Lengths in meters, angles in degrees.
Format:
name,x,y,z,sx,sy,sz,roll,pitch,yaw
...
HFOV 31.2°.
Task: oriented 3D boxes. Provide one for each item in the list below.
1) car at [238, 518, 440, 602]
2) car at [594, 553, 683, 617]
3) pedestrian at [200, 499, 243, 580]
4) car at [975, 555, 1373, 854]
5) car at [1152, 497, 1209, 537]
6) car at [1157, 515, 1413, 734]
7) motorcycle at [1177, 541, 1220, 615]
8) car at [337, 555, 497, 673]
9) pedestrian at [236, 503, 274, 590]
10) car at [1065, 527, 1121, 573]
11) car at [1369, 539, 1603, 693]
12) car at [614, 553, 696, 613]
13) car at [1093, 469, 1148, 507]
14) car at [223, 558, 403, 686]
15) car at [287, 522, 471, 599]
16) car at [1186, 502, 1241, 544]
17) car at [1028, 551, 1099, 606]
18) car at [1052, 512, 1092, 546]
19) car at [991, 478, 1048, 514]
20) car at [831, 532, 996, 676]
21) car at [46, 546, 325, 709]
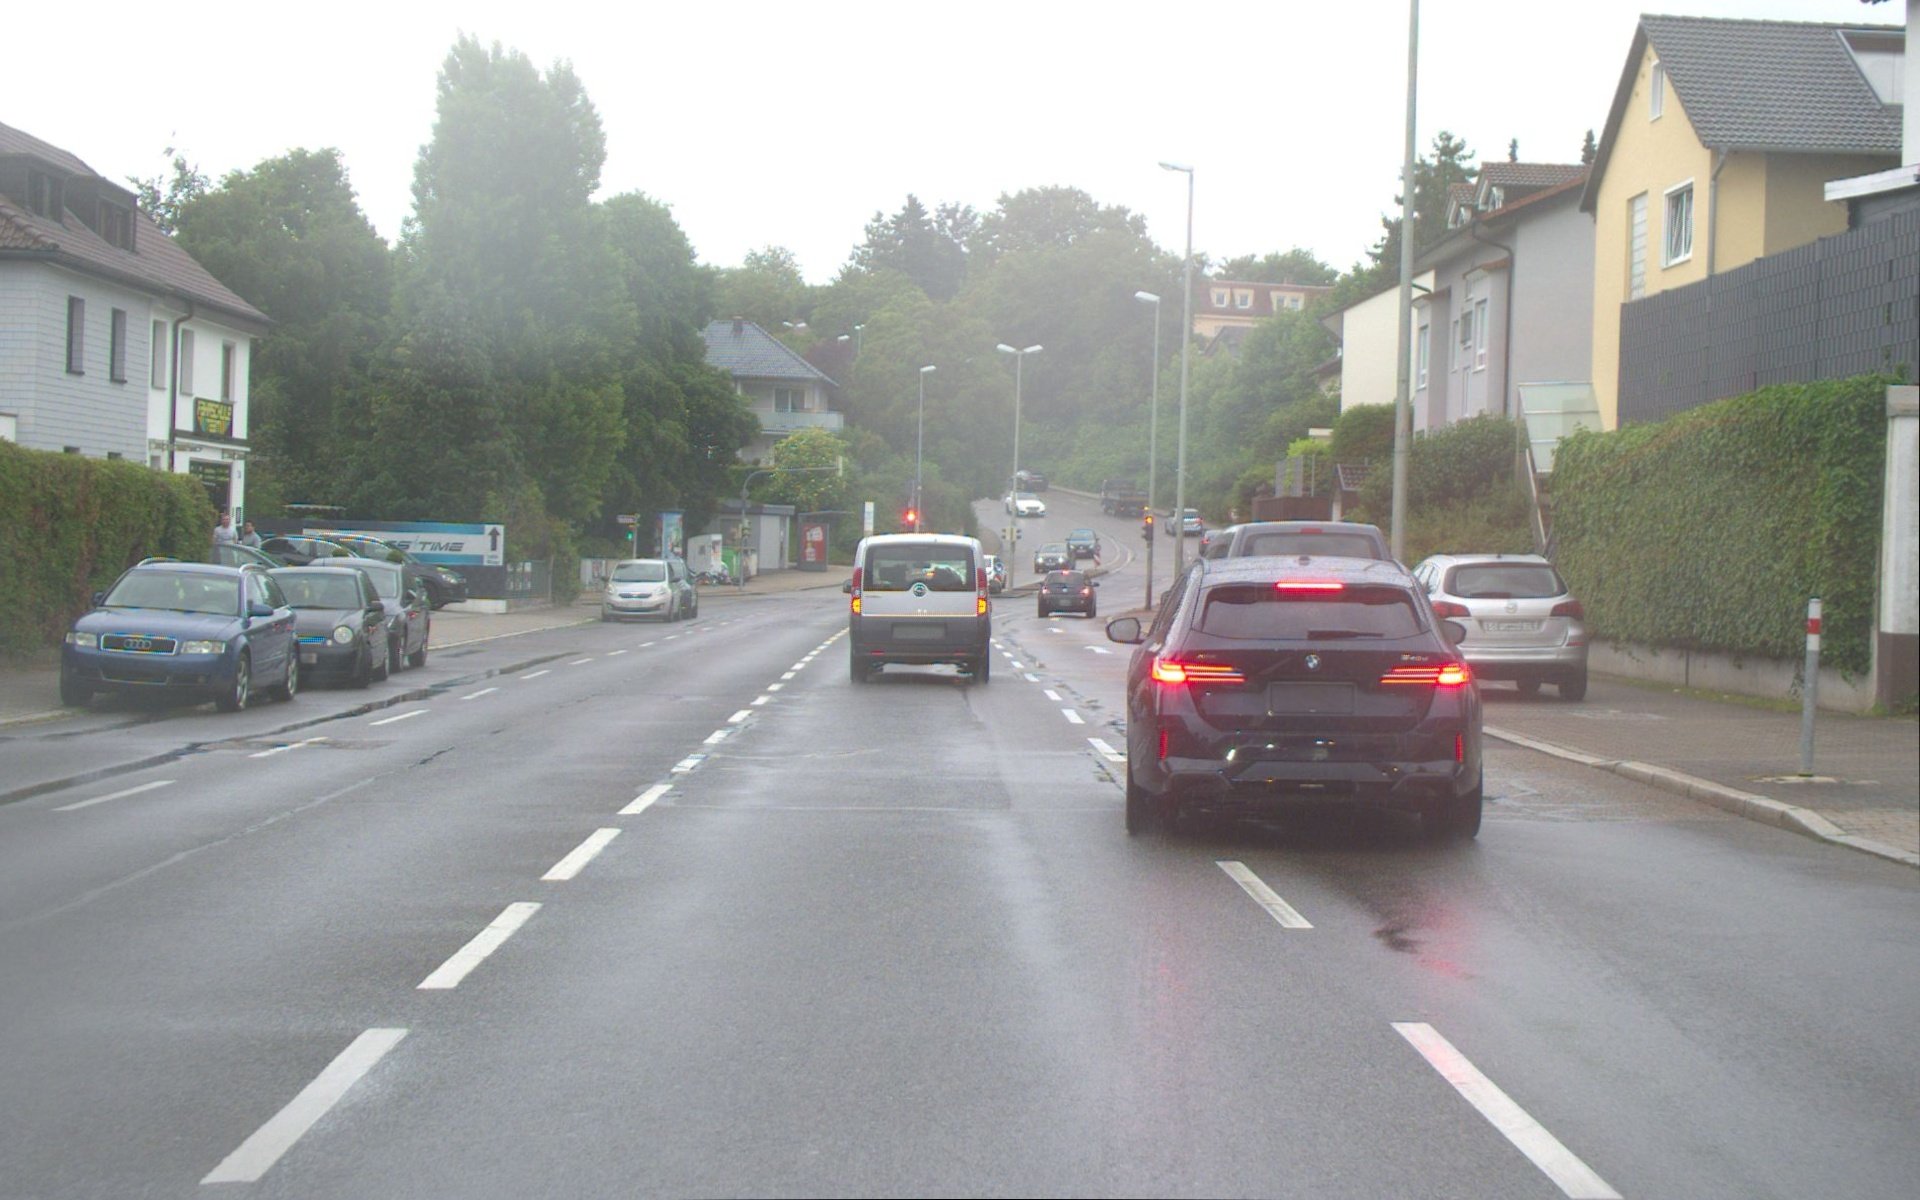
name,x,y,z,sx,sy,sz,roll,pitch,yaw
car,-13.799,-0.880,76.521,4.072,1.511,1.856,5,0,0
car,-8.177,-0.395,87.770,1.884,1.579,4.000,1,1,0
pedestrian,-15.626,-1.279,72.715,0.600,1.660,0.650,4,1,8
car,1.120,0.511,19.433,1.993,1.479,4.000,1,1,1
car,13.443,-5.061,209.695,2.521,2.006,5.611,1,5,-6
car,2.782,0.181,30.206,1.838,1.761,4.000,1,1,0
motorcycle,4.963,-0.463,71.617,0.703,1.504,2.150,-2,1,0
car,-7.404,0.159,47.187,1.757,1.527,4.209,1,1,-4
pedestrian,-14.805,-1.131,72.165,0.600,1.784,0.650,4,1,-5
car,6.655,-2.535,172.850,2.521,2.006,5.609,1,4,0
car,5.486,0.134,36.377,1.700,1.505,4.535,1,1,-1
car,-8.346,-0.490,94.430,1.884,1.579,4.000,1,1,0
car,10.525,-7.378,225.857,2.521,2.006,5.611,2,6,-8
car,-7.705,0.229,41.200,1.551,1.426,4.015,1,1,-3
car,-14.083,-0.951,83.481,4.072,1.511,1.856,5,0,0
car,14.080,-4.309,191.265,2.521,2.006,5.609,1,4,-1
car,3.177,-0.678,105.993,1.993,1.573,4.001,0,2,-1
car,6.146,-3.902,189.295,1.993,1.765,4.001,-2,2,0
car,3.887,-6.846,225.860,2.521,2.006,5.611,1,4,-12
car,-0.572,0.032,44.189,1.993,1.731,4.000,1,1,0
car,-7.801,0.241,35.004,1.757,1.527,4.286,1,1,1
